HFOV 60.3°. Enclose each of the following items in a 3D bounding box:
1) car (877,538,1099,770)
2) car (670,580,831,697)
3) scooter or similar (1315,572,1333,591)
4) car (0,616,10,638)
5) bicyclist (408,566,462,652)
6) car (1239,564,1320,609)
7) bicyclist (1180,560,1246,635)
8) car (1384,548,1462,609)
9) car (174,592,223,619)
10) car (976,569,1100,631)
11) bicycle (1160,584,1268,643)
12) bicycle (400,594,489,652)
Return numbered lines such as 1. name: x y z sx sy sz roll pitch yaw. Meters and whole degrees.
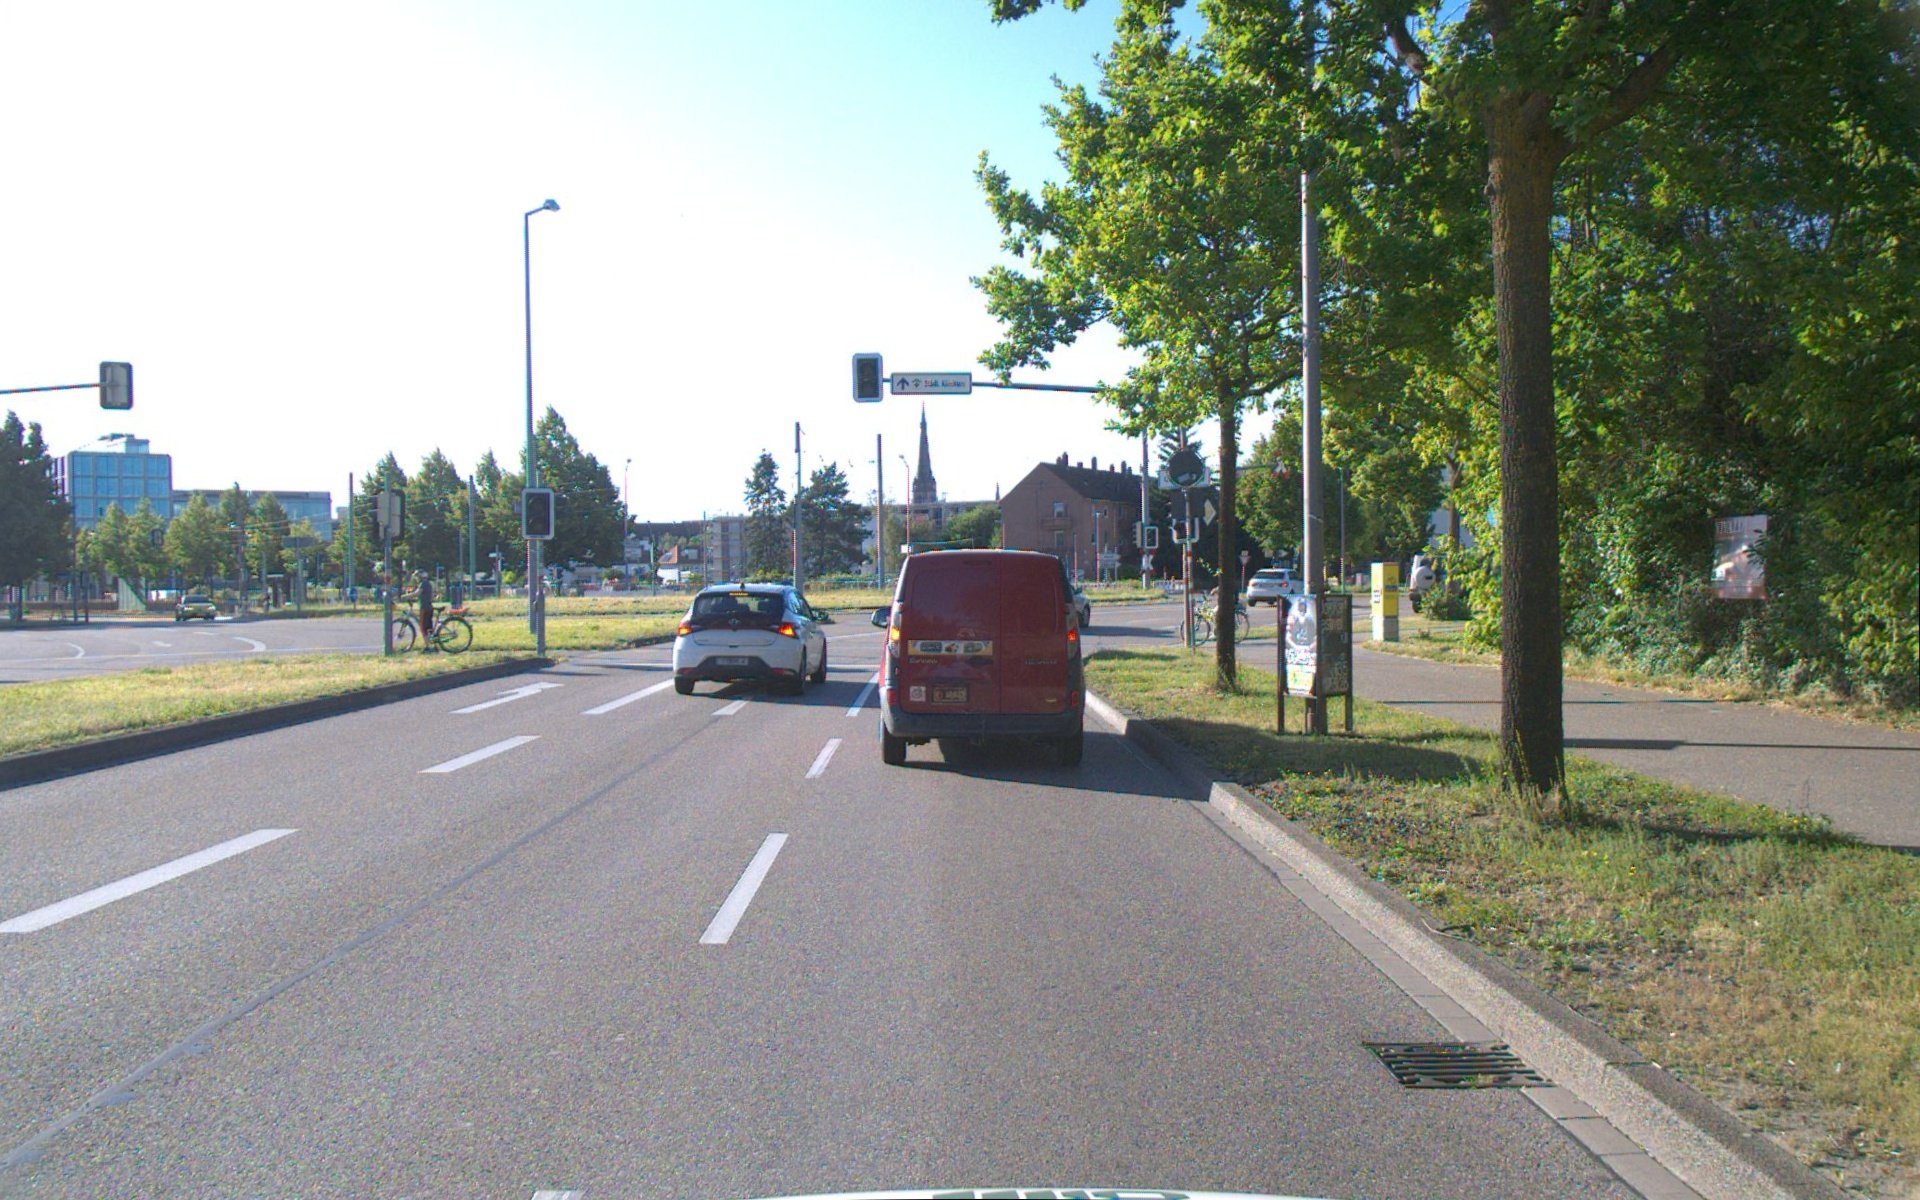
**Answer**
1. car: 0.240 0.416 15.198 1.765 1.845 3.810 1 0 0
2. car: -2.862 0.479 23.283 1.766 1.487 3.809 1 0 0
3. scooter or similar: 24.691 -1.261 112.198 0.440 1.270 1.246 1 -2 -39
4. car: -81.345 2.241 137.598 4.918 1.816 2.451 0 1 39
5. bicyclist: -10.489 0.182 33.046 0.923 1.692 0.703 0 -1 -10
6. car: 12.533 -0.559 64.642 1.955 1.667 4.403 -1 1 27
7. bicyclist: 5.491 -0.048 35.930 1.070 1.589 0.870 -2 0 -24
8. car: 15.526 -0.684 55.646 1.954 1.930 4.757 -1 0 9
9. car: -46.345 0.308 100.631 1.986 1.568 4.273 -2 1 -34
10. car: 2.224 -0.027 45.847 1.953 1.602 4.407 -1 1 24
11. bicycle: 5.521 0.287 35.942 2.181 1.175 0.870 -2 0 -24
12. bicycle: -10.296 0.455 33.091 1.620 1.148 0.703 0 0 -10
